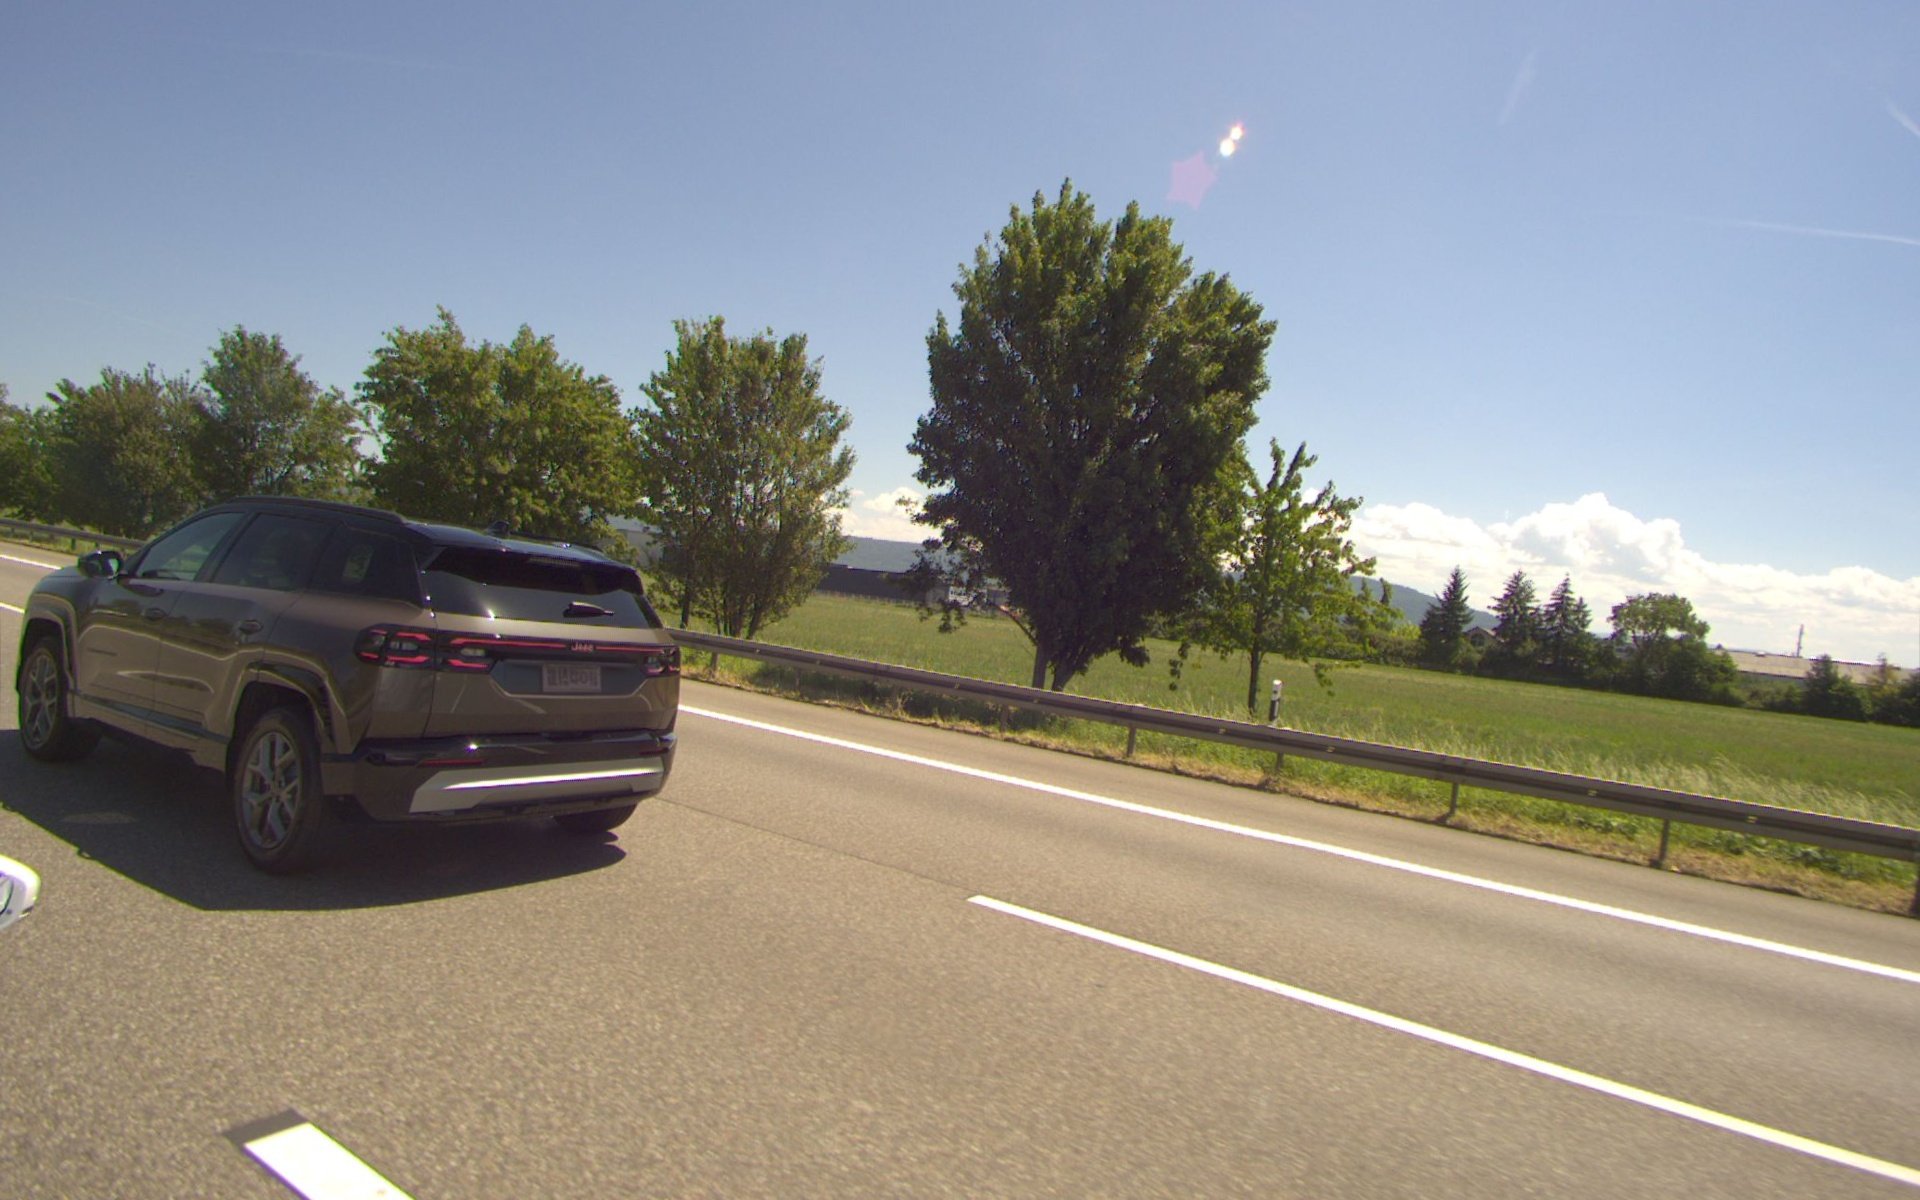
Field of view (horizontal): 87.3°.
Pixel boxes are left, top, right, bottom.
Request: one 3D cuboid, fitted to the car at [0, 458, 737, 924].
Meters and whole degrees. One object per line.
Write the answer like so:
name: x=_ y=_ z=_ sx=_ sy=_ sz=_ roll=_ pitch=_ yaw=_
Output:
car: x=-3.751 y=0.258 z=5.854 sx=4.667 sy=1.694 sz=1.870 roll=6 pitch=-2 yaw=32
